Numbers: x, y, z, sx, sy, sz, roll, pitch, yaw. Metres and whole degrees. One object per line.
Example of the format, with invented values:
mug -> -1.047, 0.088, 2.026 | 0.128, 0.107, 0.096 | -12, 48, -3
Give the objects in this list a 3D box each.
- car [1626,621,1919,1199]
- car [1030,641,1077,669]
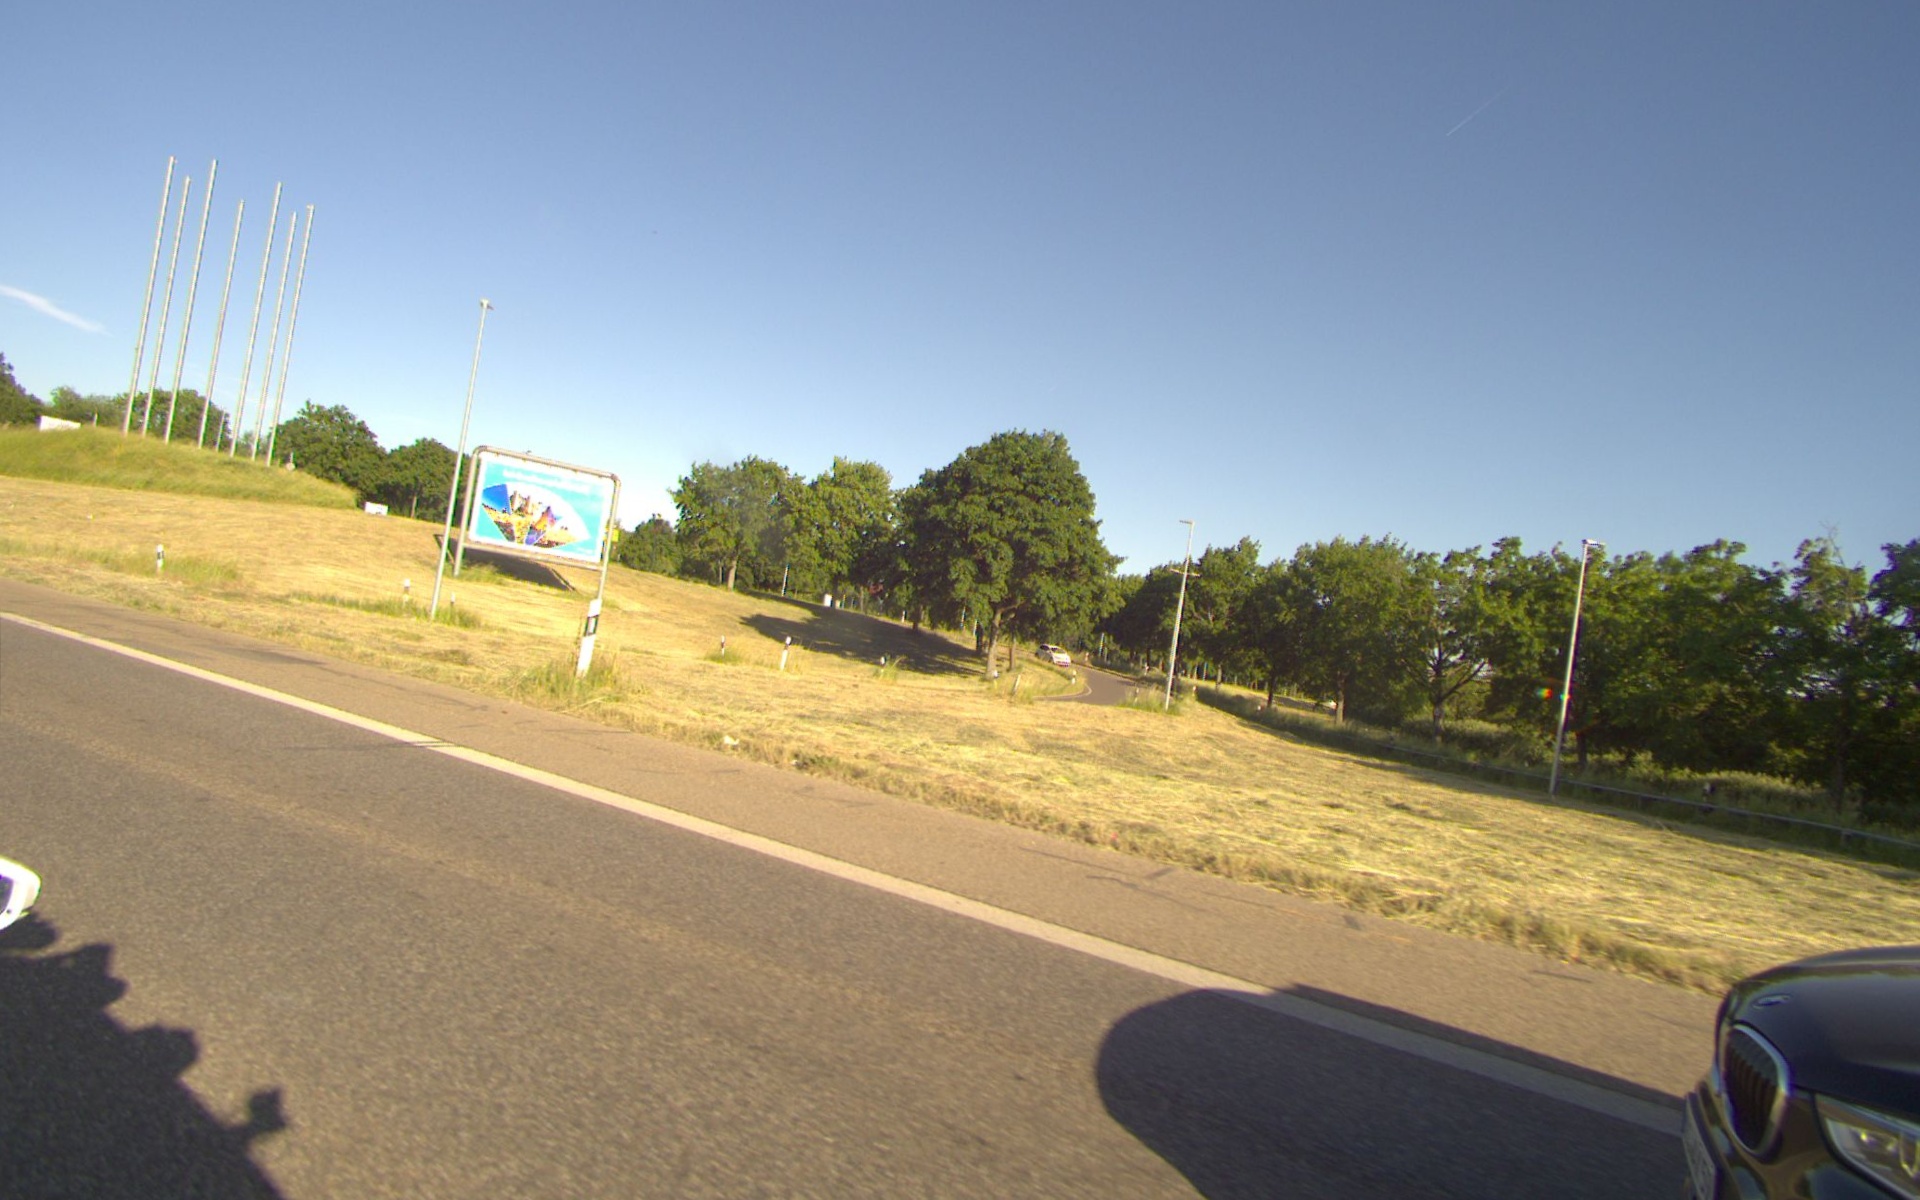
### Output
car -> 3.655, 1.188, 1.273 | 4.445, 1.589, 1.761 | 7, -4, 32
car -> 7.675, 4.540, 82.898 | 1.848, 1.711, 3.972 | 8, -1, -28
